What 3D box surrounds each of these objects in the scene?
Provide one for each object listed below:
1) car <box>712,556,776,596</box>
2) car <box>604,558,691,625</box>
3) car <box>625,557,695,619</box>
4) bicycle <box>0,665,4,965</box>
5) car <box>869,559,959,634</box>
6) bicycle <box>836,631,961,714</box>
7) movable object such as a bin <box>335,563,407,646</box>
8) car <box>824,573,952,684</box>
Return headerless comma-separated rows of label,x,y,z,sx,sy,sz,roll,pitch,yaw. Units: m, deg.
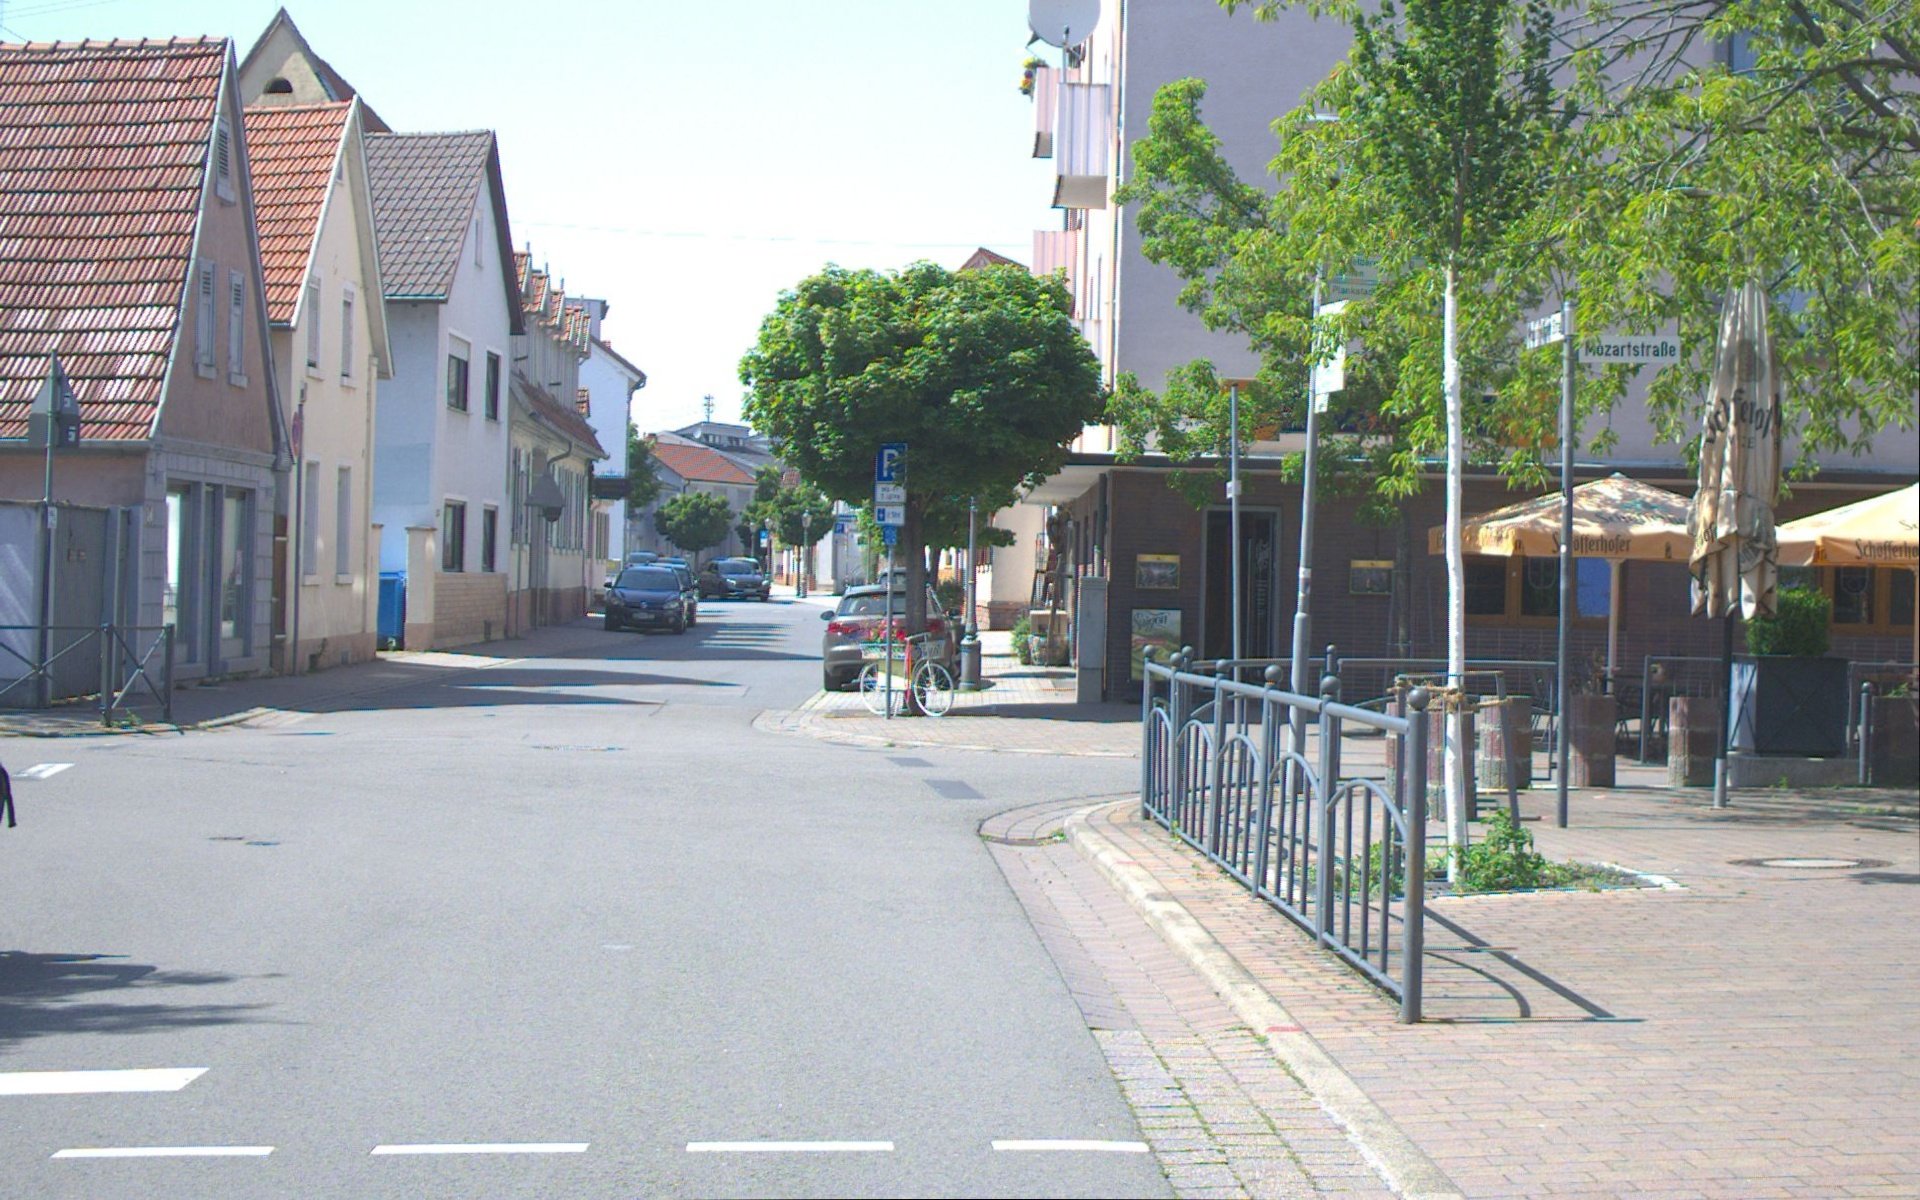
car,-8.297,-0.895,131.699,1.908,1.476,4.845,1,0,-10
car,-7.078,-0.205,78.195,1.663,1.471,4.135,1,1,-1
car,-7.384,-0.306,84.748,1.663,1.471,3.451,1,1,-4
bicycle,-4.079,0.828,12.605,0.708,1.248,1.972,-1,1,-4
car,-1.080,-0.109,81.061,2.043,1.683,4.842,1,1,-1
bicycle,-0.693,0.807,38.575,1.412,0.894,0.464,0,1,36
movable object such as a bin,-9.727,0.071,56.775,1.102,1.361,0.390,1,0,3
car,-0.958,0.363,47.194,1.576,1.449,3.486,1,0,1
